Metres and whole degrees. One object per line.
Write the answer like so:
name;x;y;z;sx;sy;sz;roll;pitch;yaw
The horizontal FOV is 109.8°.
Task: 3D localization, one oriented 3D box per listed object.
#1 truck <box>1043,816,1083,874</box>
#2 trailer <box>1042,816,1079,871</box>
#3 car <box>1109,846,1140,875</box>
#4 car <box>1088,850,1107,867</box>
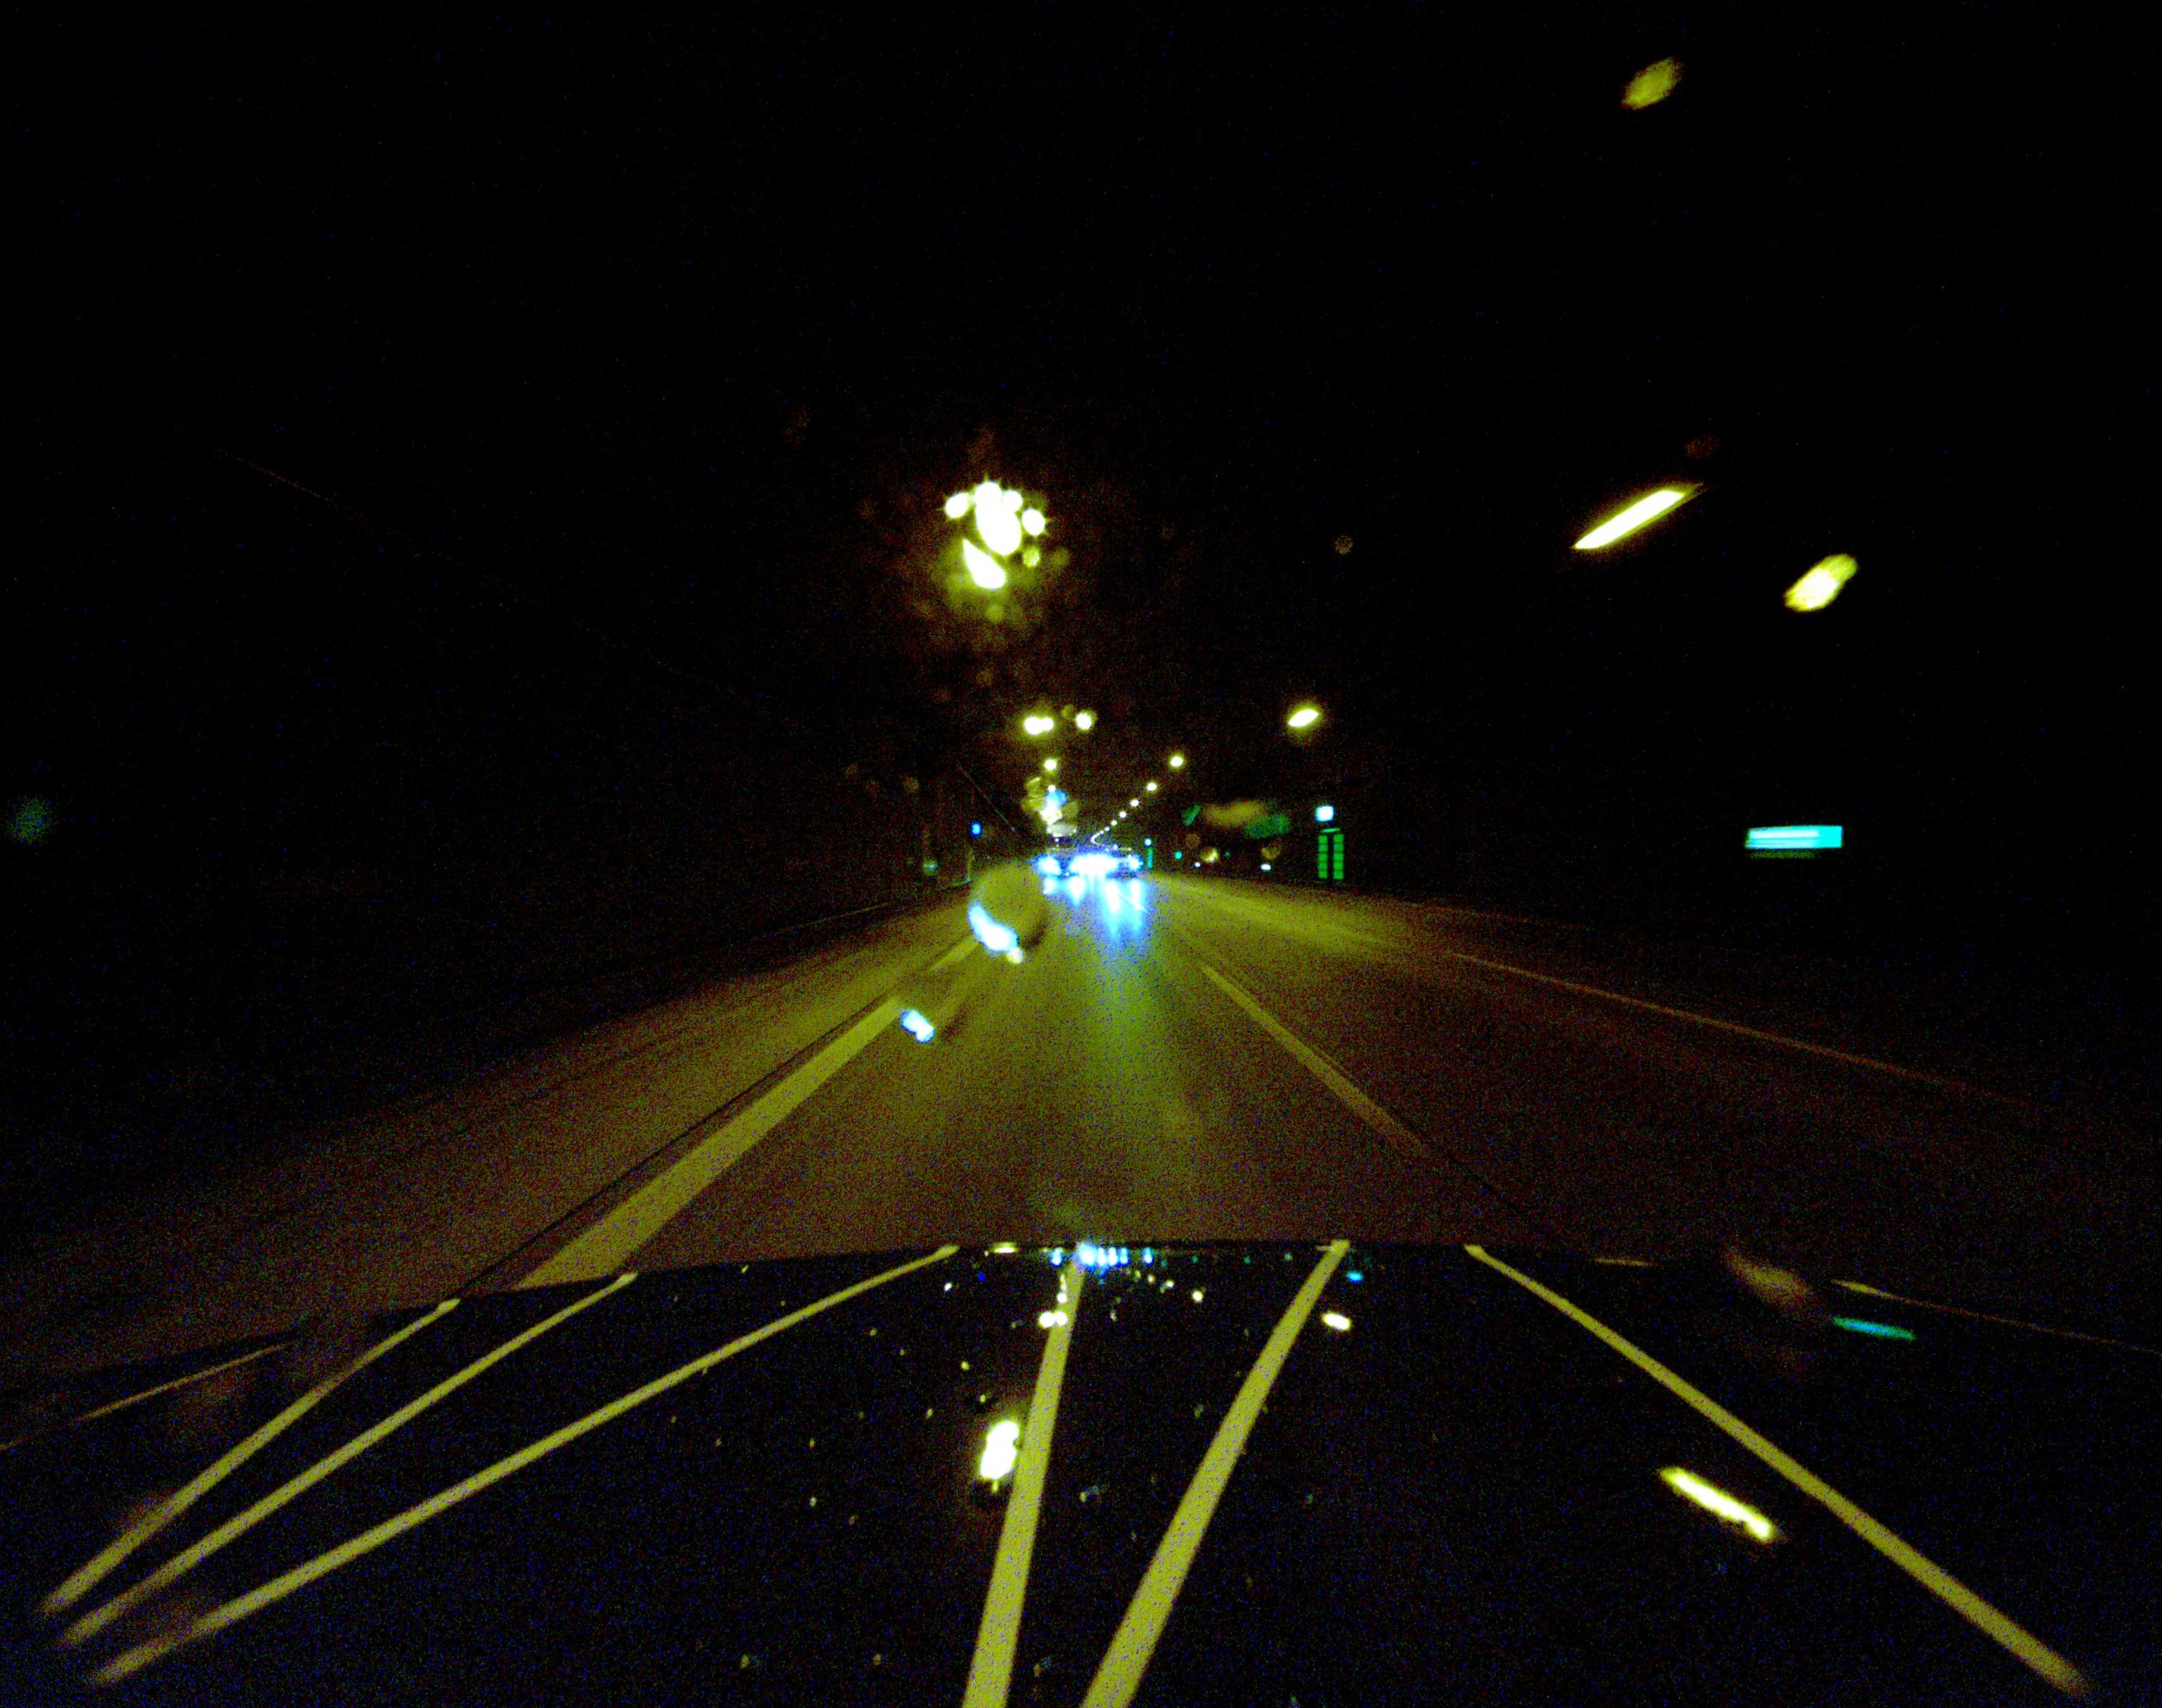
truck;-1.459;-0.693;58.223;2.654;4.139;6.001;2;1;-5
trailer;-1.892;-0.847;65.257;2.628;4.139;13.995;1;0;-3
car;2.936;0.452;52.158;1.998;1.890;4.000;-1;0;2
car;1.886;0.473;86.694;1.998;1.890;4.000;-2;0;1
